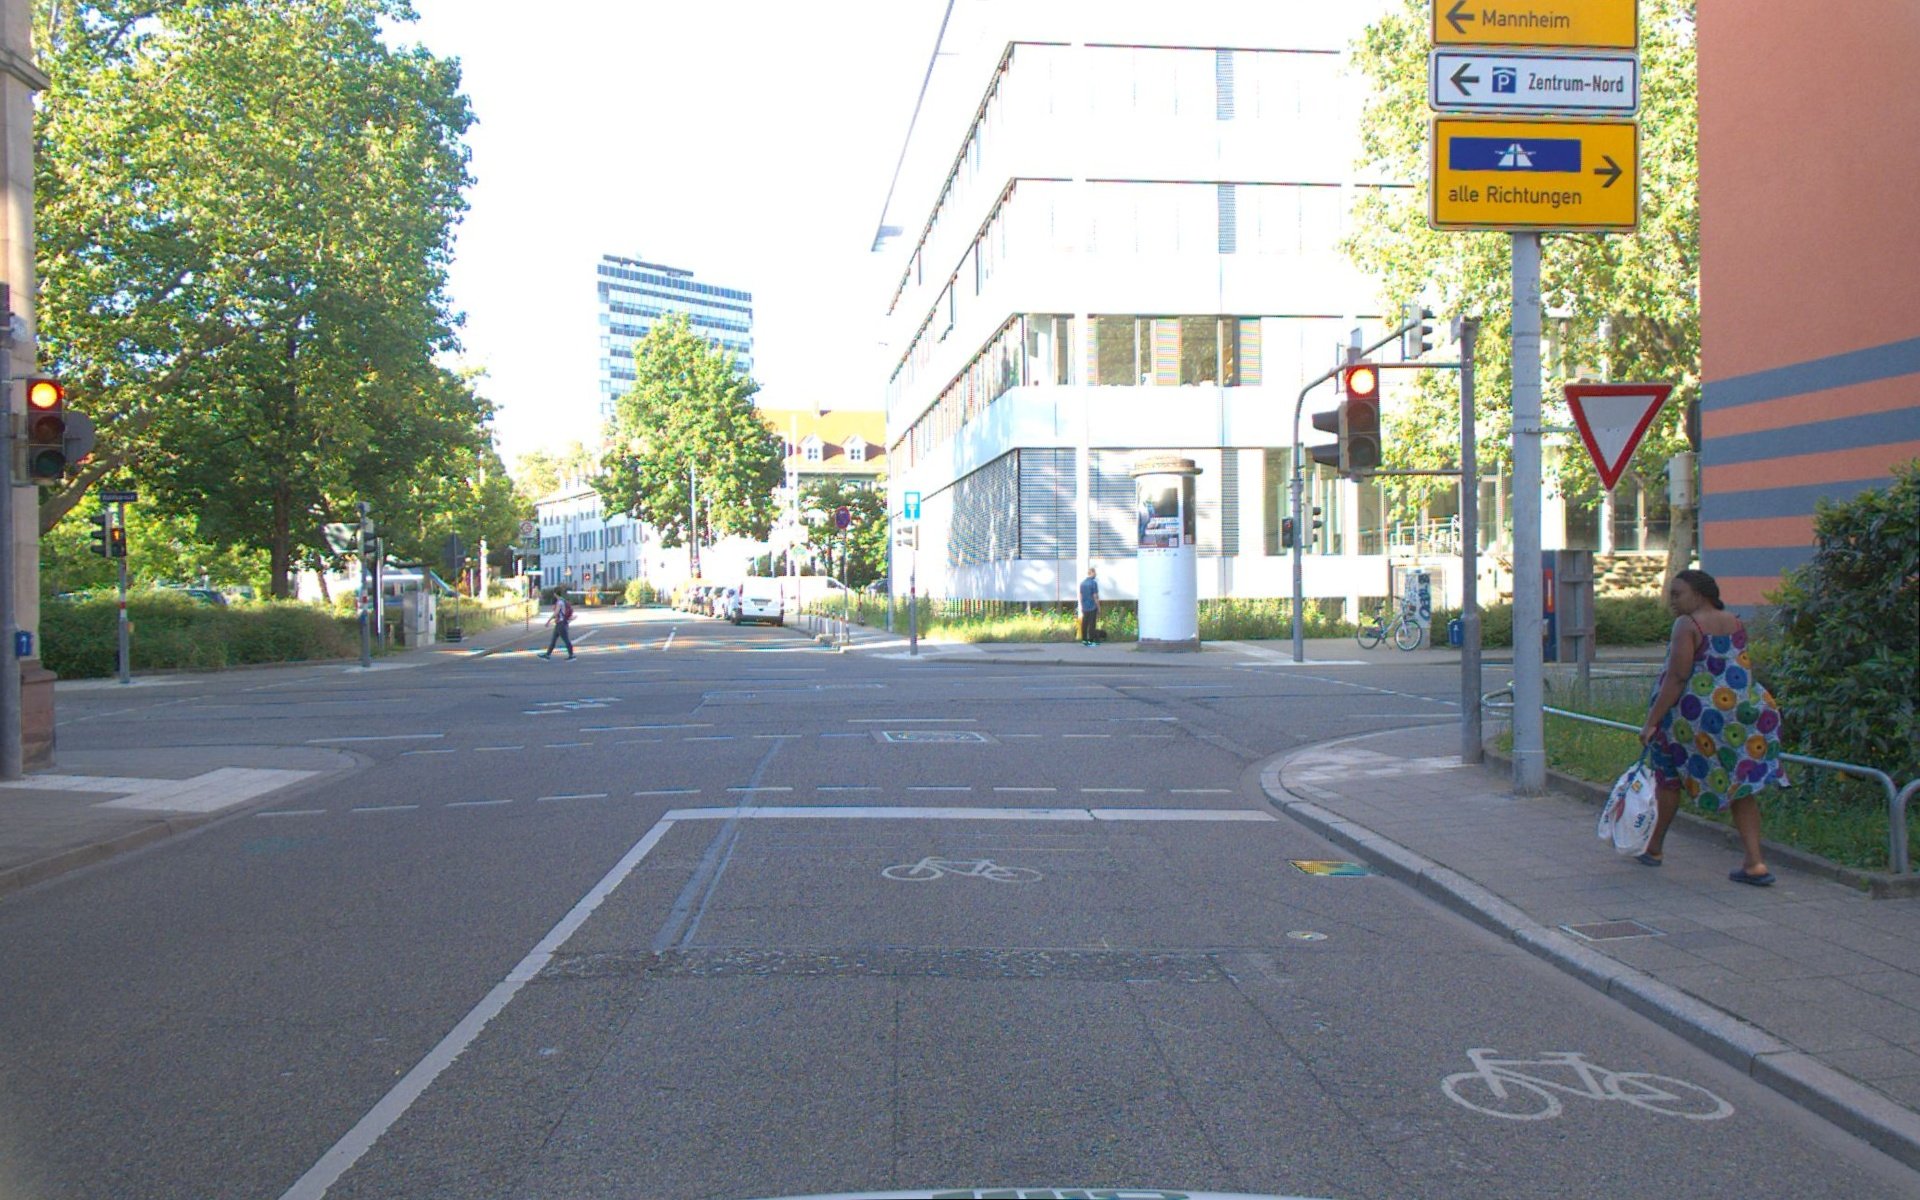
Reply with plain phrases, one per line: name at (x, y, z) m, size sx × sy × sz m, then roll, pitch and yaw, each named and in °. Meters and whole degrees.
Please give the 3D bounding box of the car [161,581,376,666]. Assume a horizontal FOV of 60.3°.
car at (-15.767, 0.511, 37.909) m, size 4.146 × 1.808 × 1.901 m, roll -1°, pitch 0°, yaw -9°

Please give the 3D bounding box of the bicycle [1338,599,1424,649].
bicycle at (9.220, 0.511, 36.253) m, size 0.460 × 1.067 × 1.886 m, roll -1°, pitch 1°, yaw -42°

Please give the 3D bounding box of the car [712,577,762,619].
car at (-10.275, -0.097, 76.048) m, size 1.913 × 1.826 × 4.224 m, roll -1°, pitch 1°, yaw -13°

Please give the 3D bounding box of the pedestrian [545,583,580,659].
pedestrian at (-8.663, 0.460, 36.020) m, size 0.700 × 1.627 × 0.615 m, roll -1°, pitch 0°, yaw -15°

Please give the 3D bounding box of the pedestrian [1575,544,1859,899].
pedestrian at (3.739, 0.568, 8.215) m, size 0.938 × 1.600 × 0.748 m, roll -4°, pitch 0°, yaw -13°

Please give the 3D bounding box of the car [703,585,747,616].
car at (-11.530, -0.011, 81.005) m, size 1.675 × 1.449 × 4.223 m, roll -1°, pitch 1°, yaw -14°

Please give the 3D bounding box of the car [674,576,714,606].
car at (-15.386, -0.529, 95.430) m, size 2.063 × 1.687 × 4.463 m, roll -1°, pitch 1°, yaw -11°

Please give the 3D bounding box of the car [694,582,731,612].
car at (-12.854, -0.146, 85.646) m, size 1.674 × 1.490 × 4.226 m, roll -1°, pitch 1°, yaw -11°

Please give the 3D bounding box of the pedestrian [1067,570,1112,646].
pedestrian at (3.046, 0.174, 38.889) m, size 0.798 × 1.766 × 0.650 m, roll -1°, pitch 0°, yaw 43°

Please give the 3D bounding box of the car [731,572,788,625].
car at (-7.866, -0.073, 64.526) m, size 2.029 × 1.997 × 4.229 m, roll -1°, pitch 1°, yaw -9°

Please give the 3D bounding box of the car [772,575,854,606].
car at (-9.127, -0.578, 102.697) m, size 4.804 × 1.905 × 1.990 m, roll 1°, pitch -1°, yaw -17°

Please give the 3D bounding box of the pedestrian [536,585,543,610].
pedestrian at (-26.746, -0.141, 105.177) m, size 0.373 × 1.561 × 0.444 m, roll -1°, pitch 0°, yaw -13°
